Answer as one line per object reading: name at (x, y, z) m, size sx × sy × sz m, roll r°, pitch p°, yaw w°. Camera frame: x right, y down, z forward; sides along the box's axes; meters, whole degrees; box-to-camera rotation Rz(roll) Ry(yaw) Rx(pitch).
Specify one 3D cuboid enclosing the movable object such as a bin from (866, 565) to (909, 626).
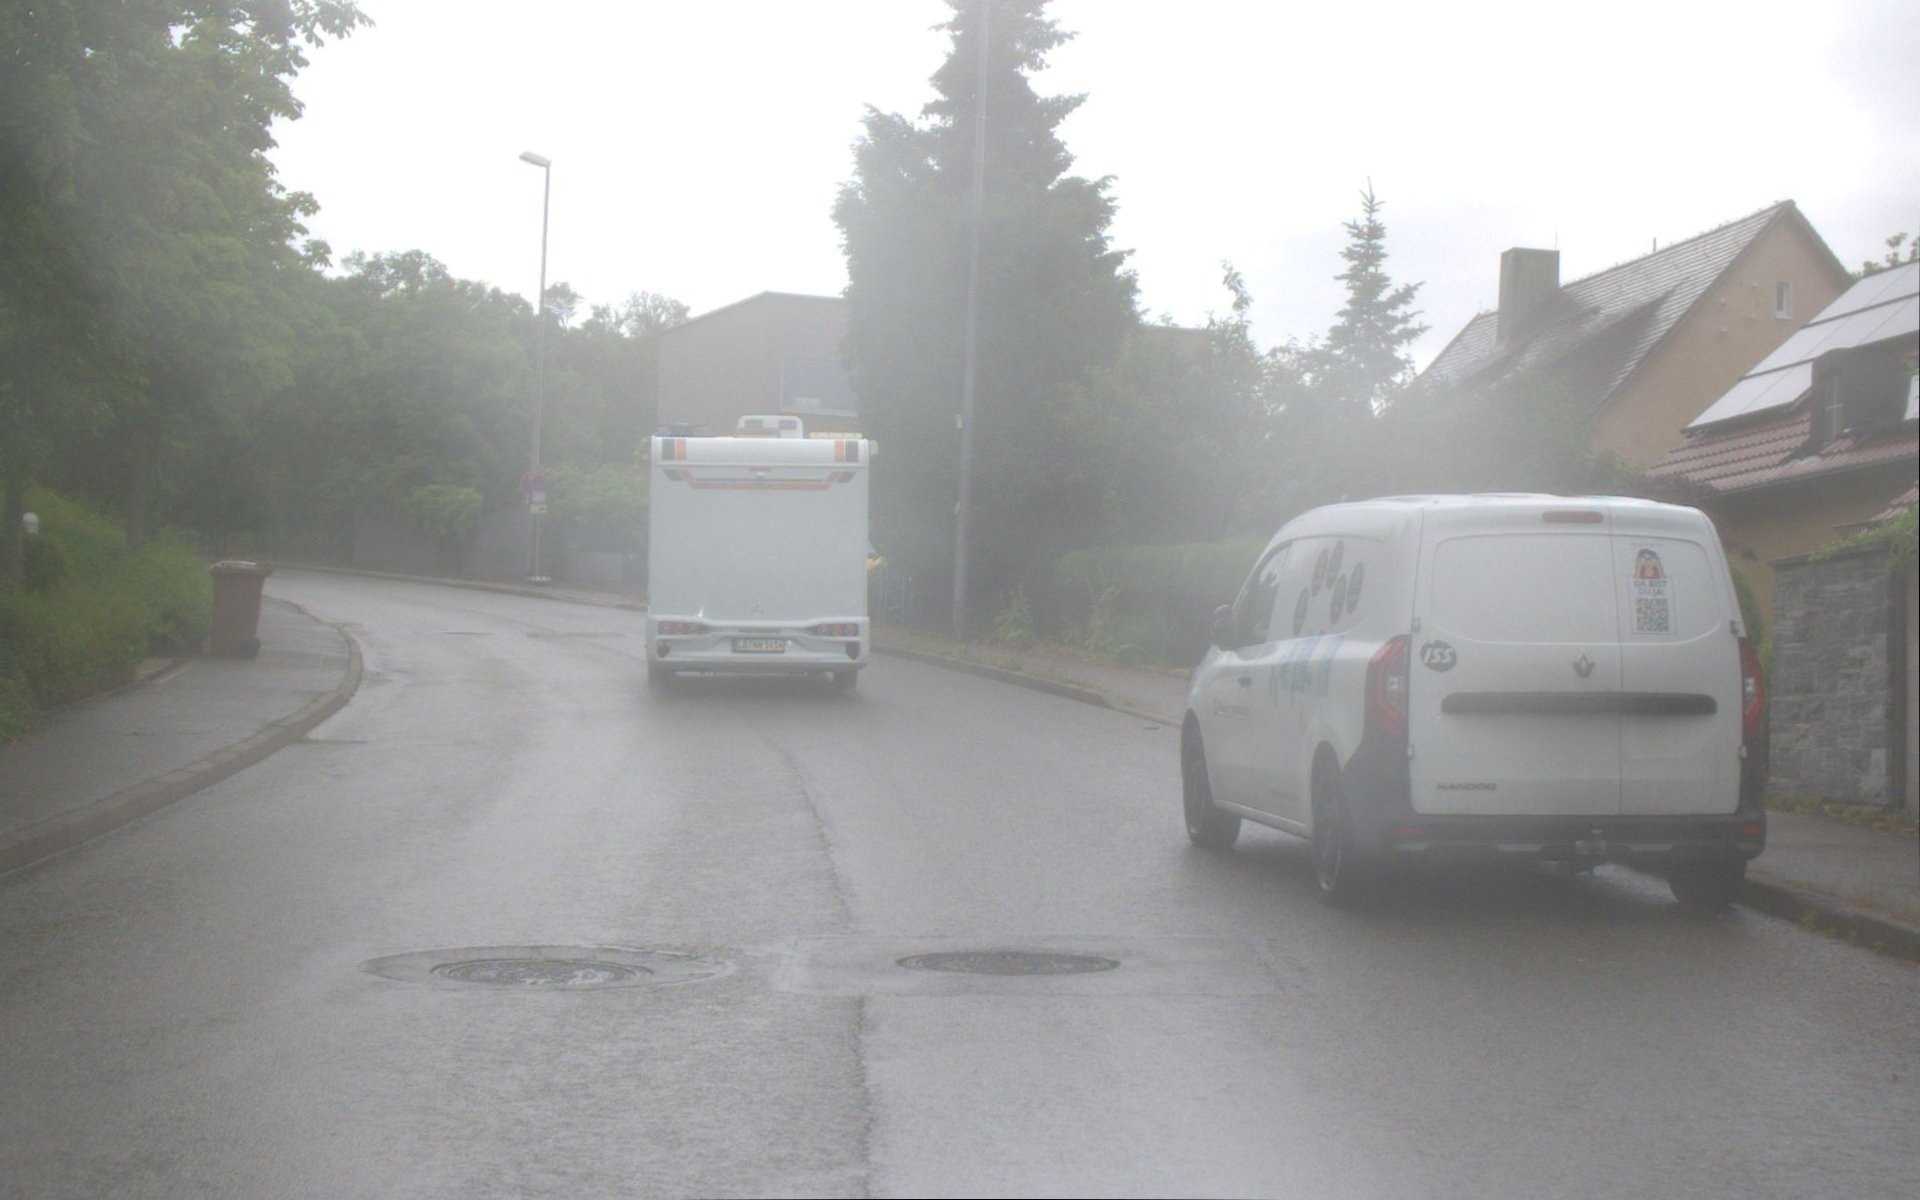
movable object such as a bin at (-1.210, -0.079, 57.168) m, size 0.504 × 0.966 × 0.595 m, roll 5°, pitch 0°, yaw -16°

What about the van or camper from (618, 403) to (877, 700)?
van or camper at (-2.321, -0.513, 37.200) m, size 2.540 × 2.915 × 5.949 m, roll 1°, pitch 1°, yaw -4°

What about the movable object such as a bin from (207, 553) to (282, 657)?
movable object such as a bin at (-8.248, 0.054, 39.652) m, size 0.694 × 1.086 × 0.803 m, roll 4°, pitch 5°, yaw -5°

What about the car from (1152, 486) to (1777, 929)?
car at (2.205, 0.418, 16.414) m, size 1.778 × 1.797 × 4.708 m, roll 1°, pitch 1°, yaw -6°
